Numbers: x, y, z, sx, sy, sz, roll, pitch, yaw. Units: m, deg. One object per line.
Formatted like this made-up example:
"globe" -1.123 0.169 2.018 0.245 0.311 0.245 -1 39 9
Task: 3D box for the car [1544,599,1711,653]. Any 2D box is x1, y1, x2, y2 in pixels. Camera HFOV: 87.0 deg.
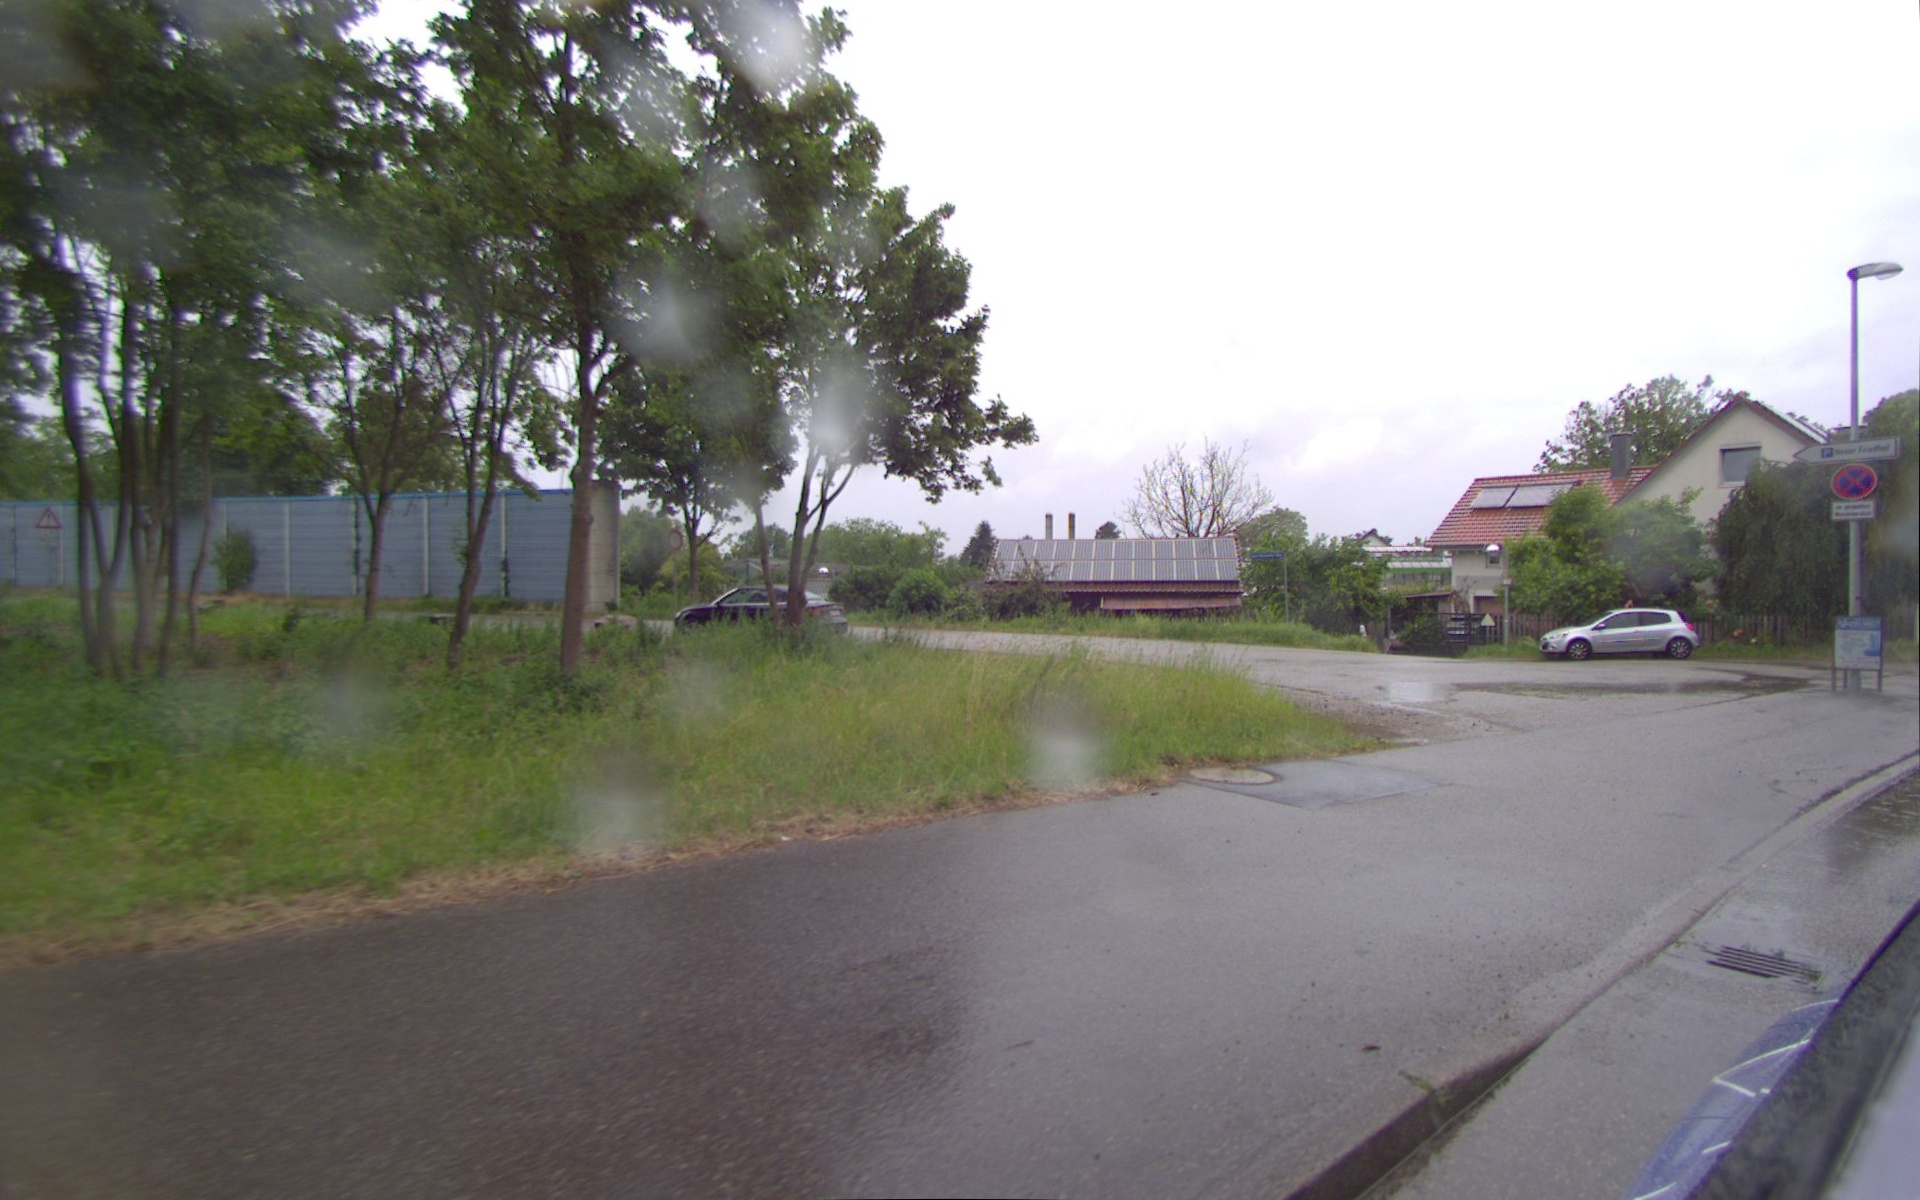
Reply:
"car" 19.834 0.773 30.270 3.808 1.551 1.708 -1 -1 20

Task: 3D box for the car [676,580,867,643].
"car" -4.442 0.286 23.968 4.059 1.376 1.892 -1 -1 20

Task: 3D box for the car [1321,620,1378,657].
"car" 19.202 1.875 50.051 1.903 1.705 3.986 -1 0 11
